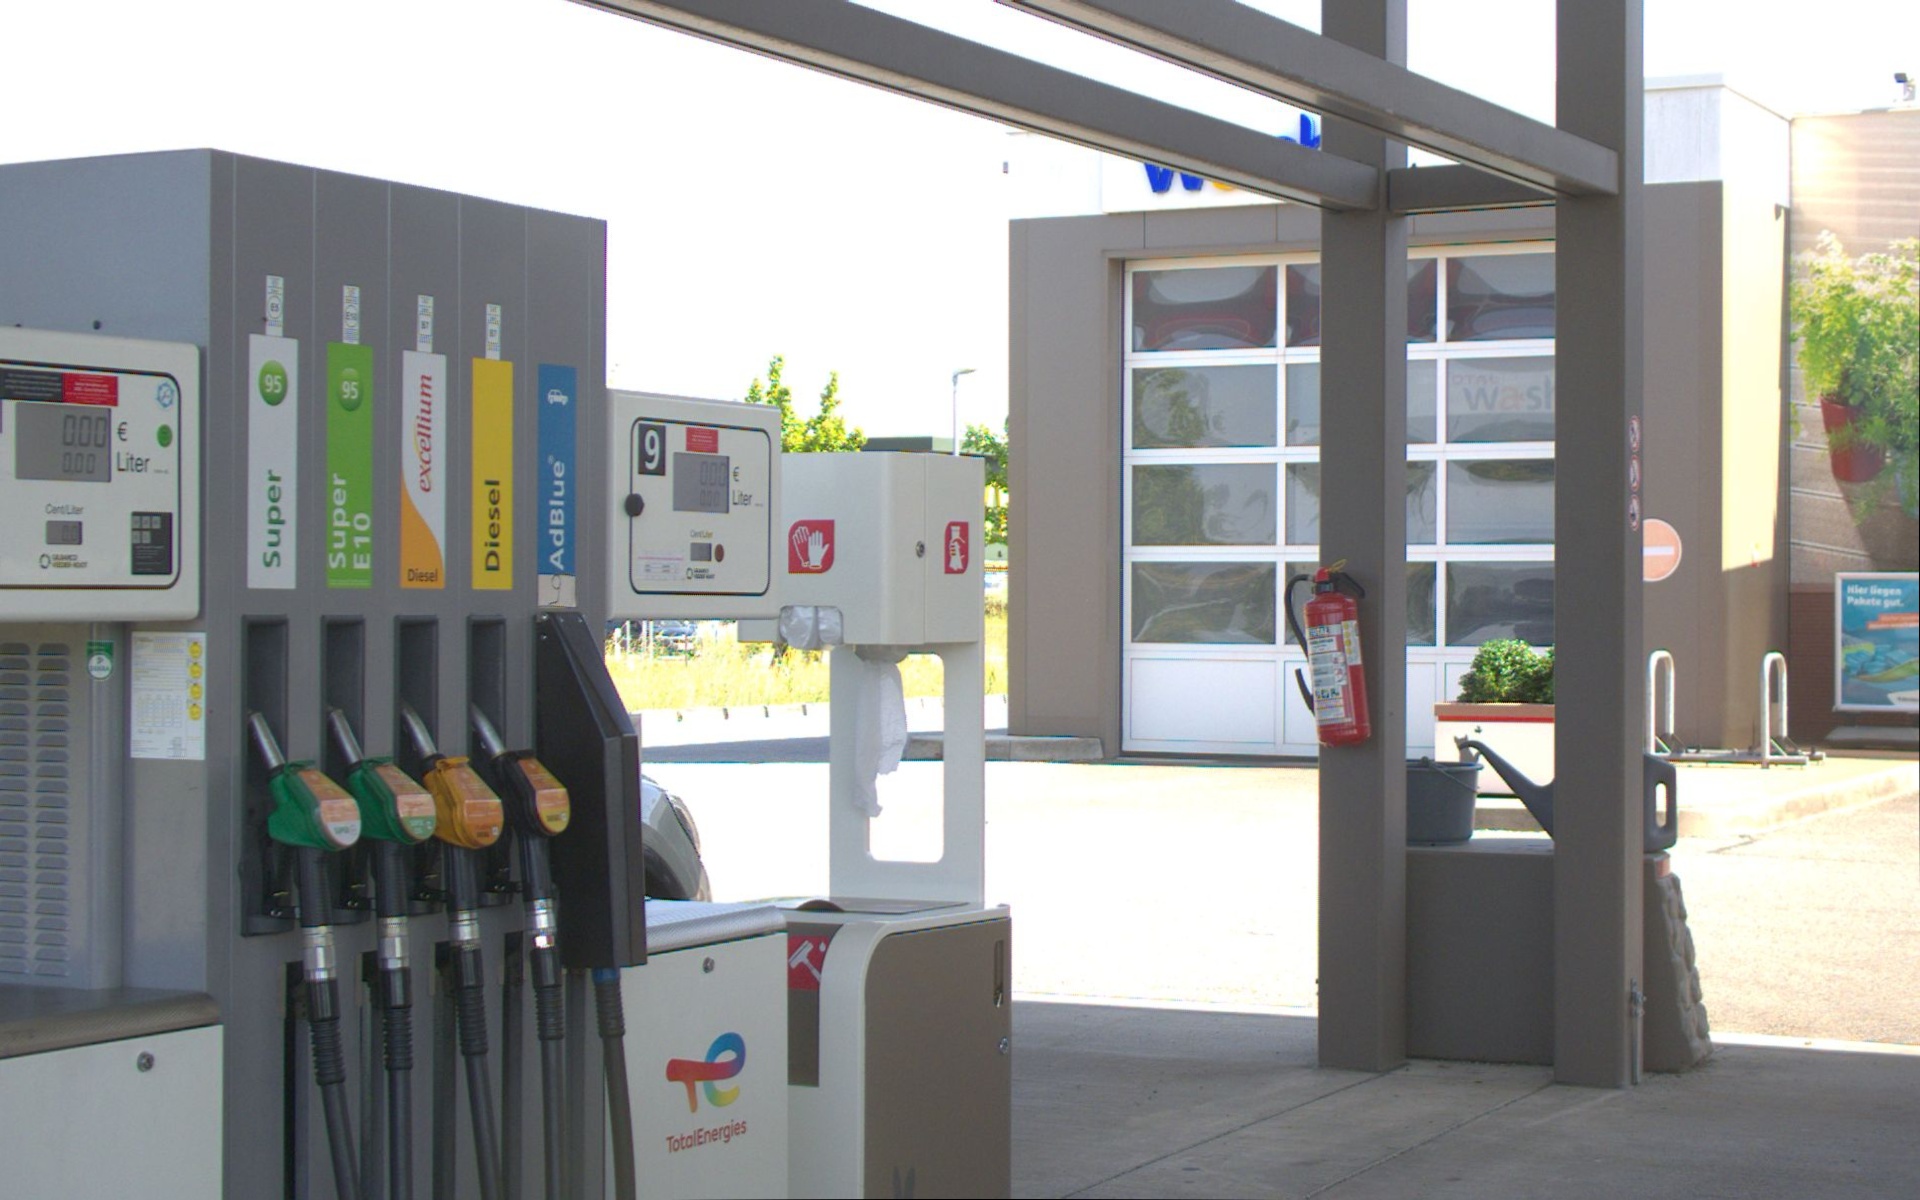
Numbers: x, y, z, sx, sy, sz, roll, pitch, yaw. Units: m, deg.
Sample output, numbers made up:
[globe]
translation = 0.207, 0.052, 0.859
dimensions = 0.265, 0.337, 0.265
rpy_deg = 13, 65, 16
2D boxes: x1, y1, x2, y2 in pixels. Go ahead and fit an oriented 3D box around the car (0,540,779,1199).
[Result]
[car]
translation = -2.243, 0.658, 6.859
dimensions = 1.783, 1.536, 4.319
rpy_deg = 0, 1, 28
